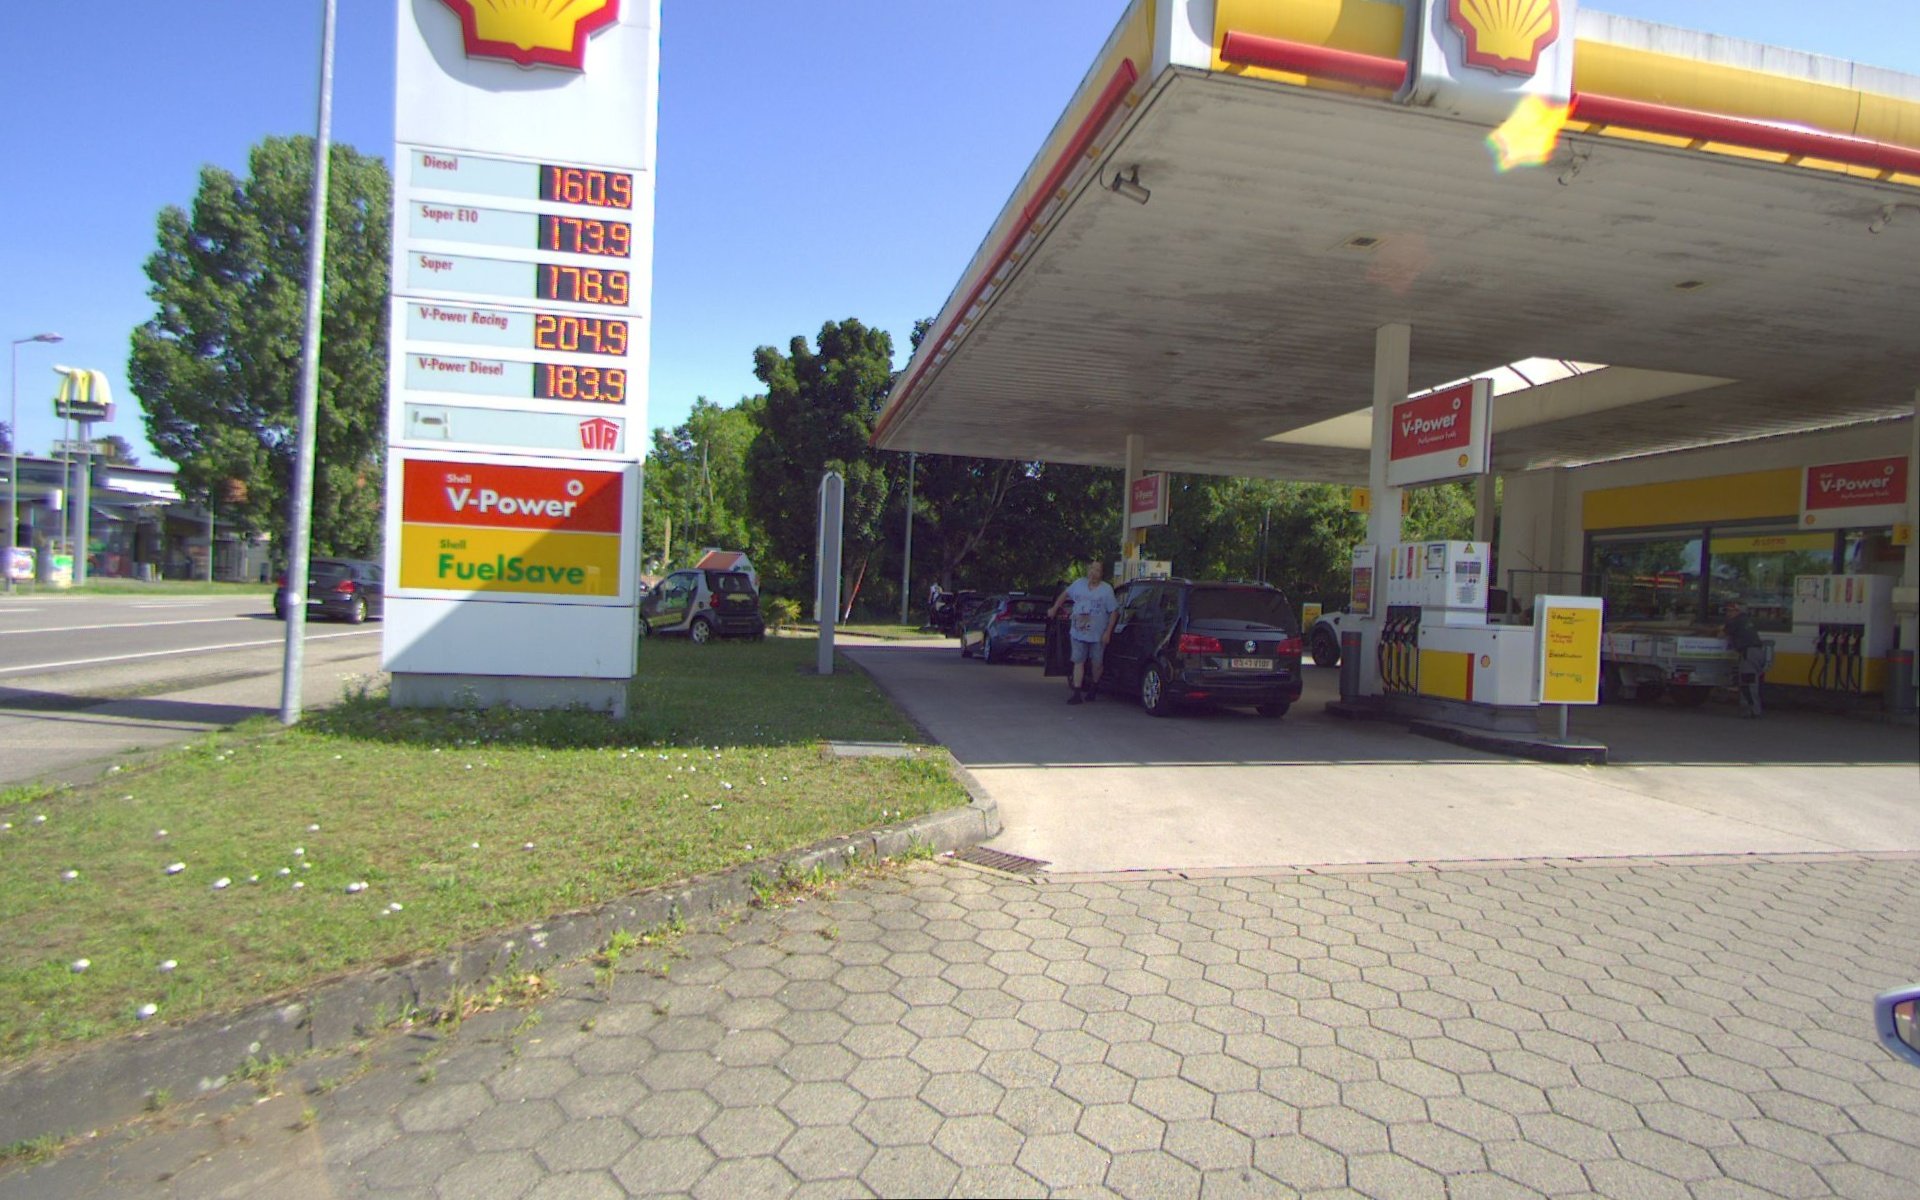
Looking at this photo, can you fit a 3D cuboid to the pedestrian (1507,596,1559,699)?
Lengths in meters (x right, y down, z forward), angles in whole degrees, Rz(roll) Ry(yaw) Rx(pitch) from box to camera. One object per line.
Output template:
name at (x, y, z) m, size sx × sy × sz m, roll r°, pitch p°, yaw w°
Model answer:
pedestrian at (9.465, 0.774, 16.593) m, size 0.491 × 1.653 × 0.475 m, roll 3°, pitch 0°, yaw -8°

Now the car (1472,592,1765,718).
car at (10.493, 0.805, 16.423) m, size 1.800 × 1.751 × 3.995 m, roll 3°, pitch 0°, yaw -7°

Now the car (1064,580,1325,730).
car at (2.812, 0.598, 12.979) m, size 1.735 × 1.599 × 3.868 m, roll 3°, pitch 0°, yaw -13°

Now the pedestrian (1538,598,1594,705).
pedestrian at (9.442, 0.792, 15.663) m, size 0.491 × 1.614 × 0.475 m, roll 3°, pitch 0°, yaw -8°

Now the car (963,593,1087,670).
car at (1.244, 0.596, 20.945) m, size 1.771 × 1.379 × 3.842 m, roll 3°, pitch 0°, yaw -8°

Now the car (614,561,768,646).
car at (-5.510, 0.072, 20.571) m, size 2.684 × 1.550 × 1.574 m, roll 3°, pitch -2°, yaw 33°

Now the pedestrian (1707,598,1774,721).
pedestrian at (11.038, 0.834, 14.216) m, size 0.467 × 1.690 × 0.500 m, roll 3°, pitch 0°, yaw -10°

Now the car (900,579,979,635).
car at (-0.811, 0.238, 36.543) m, size 1.967 × 1.789 × 3.989 m, roll 5°, pitch -1°, yaw -14°

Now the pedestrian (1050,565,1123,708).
pedestrian at (1.611, 0.454, 12.877) m, size 0.662 × 1.752 × 0.811 m, roll 3°, pitch 0°, yaw -9°

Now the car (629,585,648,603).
car at (-41.069, -0.746, 128.246) m, size 1.967 × 2.040 × 3.987 m, roll 5°, pitch -1°, yaw -15°

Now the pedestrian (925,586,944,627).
pedestrian at (-1.000, 0.265, 39.427) m, size 0.665 × 1.557 × 0.393 m, roll 3°, pitch 0°, yaw -7°

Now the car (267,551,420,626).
car at (-14.093, -0.263, 23.213) m, size 1.623 × 1.449 × 4.045 m, roll 5°, pitch 0°, yaw -12°

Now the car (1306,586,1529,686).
car at (9.623, 0.673, 21.644) m, size 1.825 × 1.862 × 4.768 m, roll 3°, pitch 0°, yaw -12°
